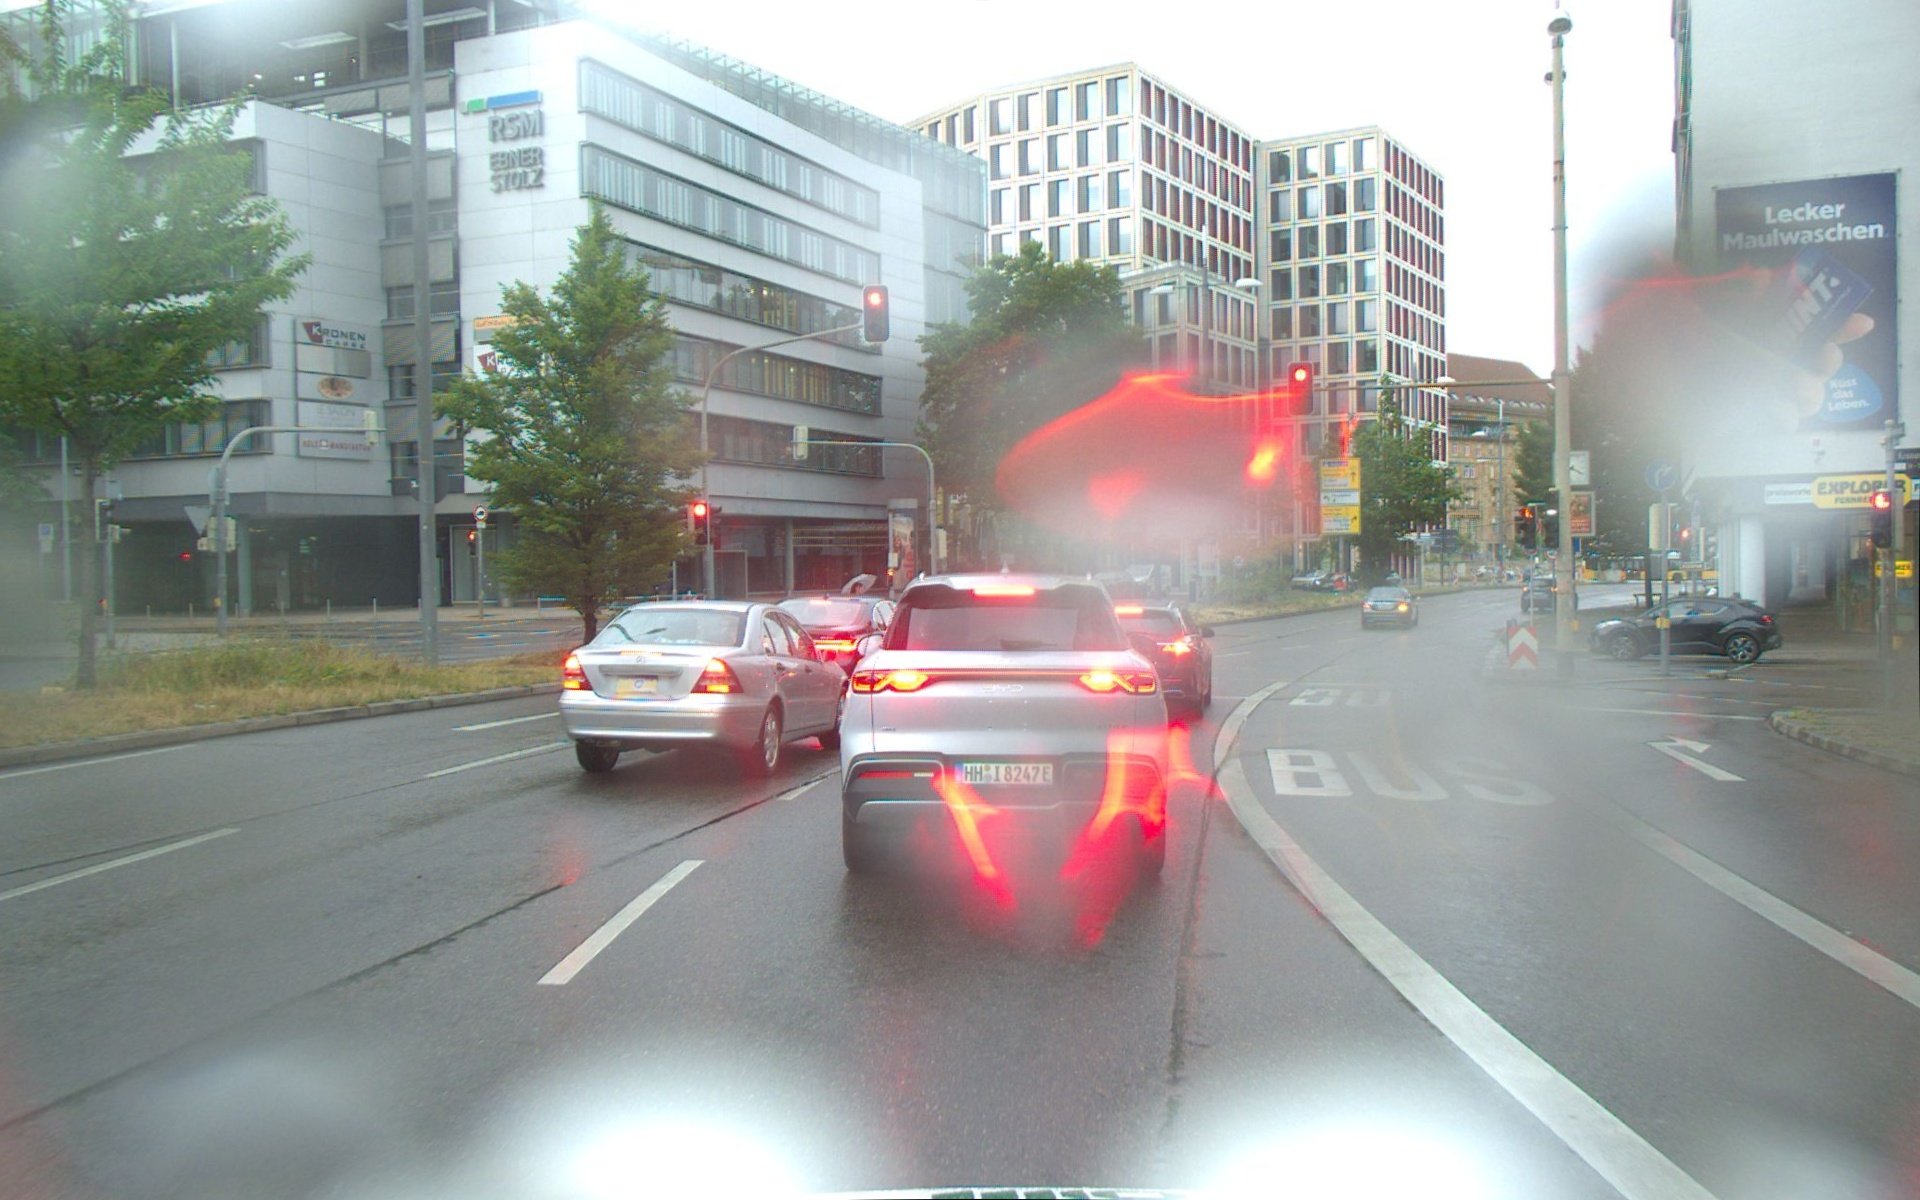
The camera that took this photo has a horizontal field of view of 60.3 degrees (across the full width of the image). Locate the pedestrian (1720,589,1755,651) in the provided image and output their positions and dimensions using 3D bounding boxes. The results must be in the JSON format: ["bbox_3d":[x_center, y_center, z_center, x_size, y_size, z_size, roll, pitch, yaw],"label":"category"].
[{"bbox_3d":[19.820,0.504,42.175,0.712,1.551,0.760,0,-1,18],"label":"pedestrian"}]

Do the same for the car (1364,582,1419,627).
[{"bbox_3d":[15.730,0.124,60.264,1.869,1.536,4.360,1,1,15],"label":"car"}]

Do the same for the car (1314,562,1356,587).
[{"bbox_3d":[28.109,-1.923,123.769,1.957,1.735,3.992,1,2,30],"label":"car"}]

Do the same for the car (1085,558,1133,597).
[{"bbox_3d":[8.701,-1.309,96.406,1.701,2.199,4.494,1,0,20],"label":"car"}]

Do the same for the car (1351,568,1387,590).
[{"bbox_3d":[35.424,-1.823,143.304,1.956,1.735,4.302,1,2,29],"label":"car"}]

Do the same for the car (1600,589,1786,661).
[{"bbox_3d":[17.669,0.555,39.889,3.912,1.579,1.997,1,1,29],"label":"car"}]

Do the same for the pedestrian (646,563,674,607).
[{"bbox_3d":[-12.203,-0.599,67.270,0.712,1.757,0.924,0,0,24],"label":"pedestrian"}]

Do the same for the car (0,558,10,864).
[{"bbox_3d":[-5.834,0.600,6.564,1.747,1.601,4.286,0,0,-2],"label":"car"}]

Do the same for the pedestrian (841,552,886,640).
[{"bbox_3d":[-1.977,-0.083,33.936,0.903,1.768,0.729,0,0,-3],"label":"pedestrian"}]

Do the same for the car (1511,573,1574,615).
[{"bbox_3d":[26.389,-0.292,74.804,2.008,1.796,4.349,1,1,29],"label":"car"}]

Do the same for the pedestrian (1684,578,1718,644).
[{"bbox_3d":[19.148,0.281,42.758,0.712,1.698,0.691,0,-1,18],"label":"pedestrian"}]

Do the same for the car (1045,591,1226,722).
[{"bbox_3d":[2.425,0.665,22.003,1.913,1.557,4.003,0,0,13],"label":"car"}]

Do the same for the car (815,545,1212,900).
[{"bbox_3d":[0.225,0.585,10.405,1.953,1.739,4.482,0,0,-1],"label":"car"}]

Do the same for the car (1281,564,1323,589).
[{"bbox_3d":[25.822,-1.795,124.886,1.956,1.735,4.302,1,2,29],"label":"car"}]

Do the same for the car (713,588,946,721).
[{"bbox_3d":[-1.585,0.630,21.660,1.913,1.557,4.003,0,0,13],"label":"car"}]

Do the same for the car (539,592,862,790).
[{"bbox_3d":[-2.157,0.694,14.949,1.646,1.512,4.200,0,0,9],"label":"car"}]
